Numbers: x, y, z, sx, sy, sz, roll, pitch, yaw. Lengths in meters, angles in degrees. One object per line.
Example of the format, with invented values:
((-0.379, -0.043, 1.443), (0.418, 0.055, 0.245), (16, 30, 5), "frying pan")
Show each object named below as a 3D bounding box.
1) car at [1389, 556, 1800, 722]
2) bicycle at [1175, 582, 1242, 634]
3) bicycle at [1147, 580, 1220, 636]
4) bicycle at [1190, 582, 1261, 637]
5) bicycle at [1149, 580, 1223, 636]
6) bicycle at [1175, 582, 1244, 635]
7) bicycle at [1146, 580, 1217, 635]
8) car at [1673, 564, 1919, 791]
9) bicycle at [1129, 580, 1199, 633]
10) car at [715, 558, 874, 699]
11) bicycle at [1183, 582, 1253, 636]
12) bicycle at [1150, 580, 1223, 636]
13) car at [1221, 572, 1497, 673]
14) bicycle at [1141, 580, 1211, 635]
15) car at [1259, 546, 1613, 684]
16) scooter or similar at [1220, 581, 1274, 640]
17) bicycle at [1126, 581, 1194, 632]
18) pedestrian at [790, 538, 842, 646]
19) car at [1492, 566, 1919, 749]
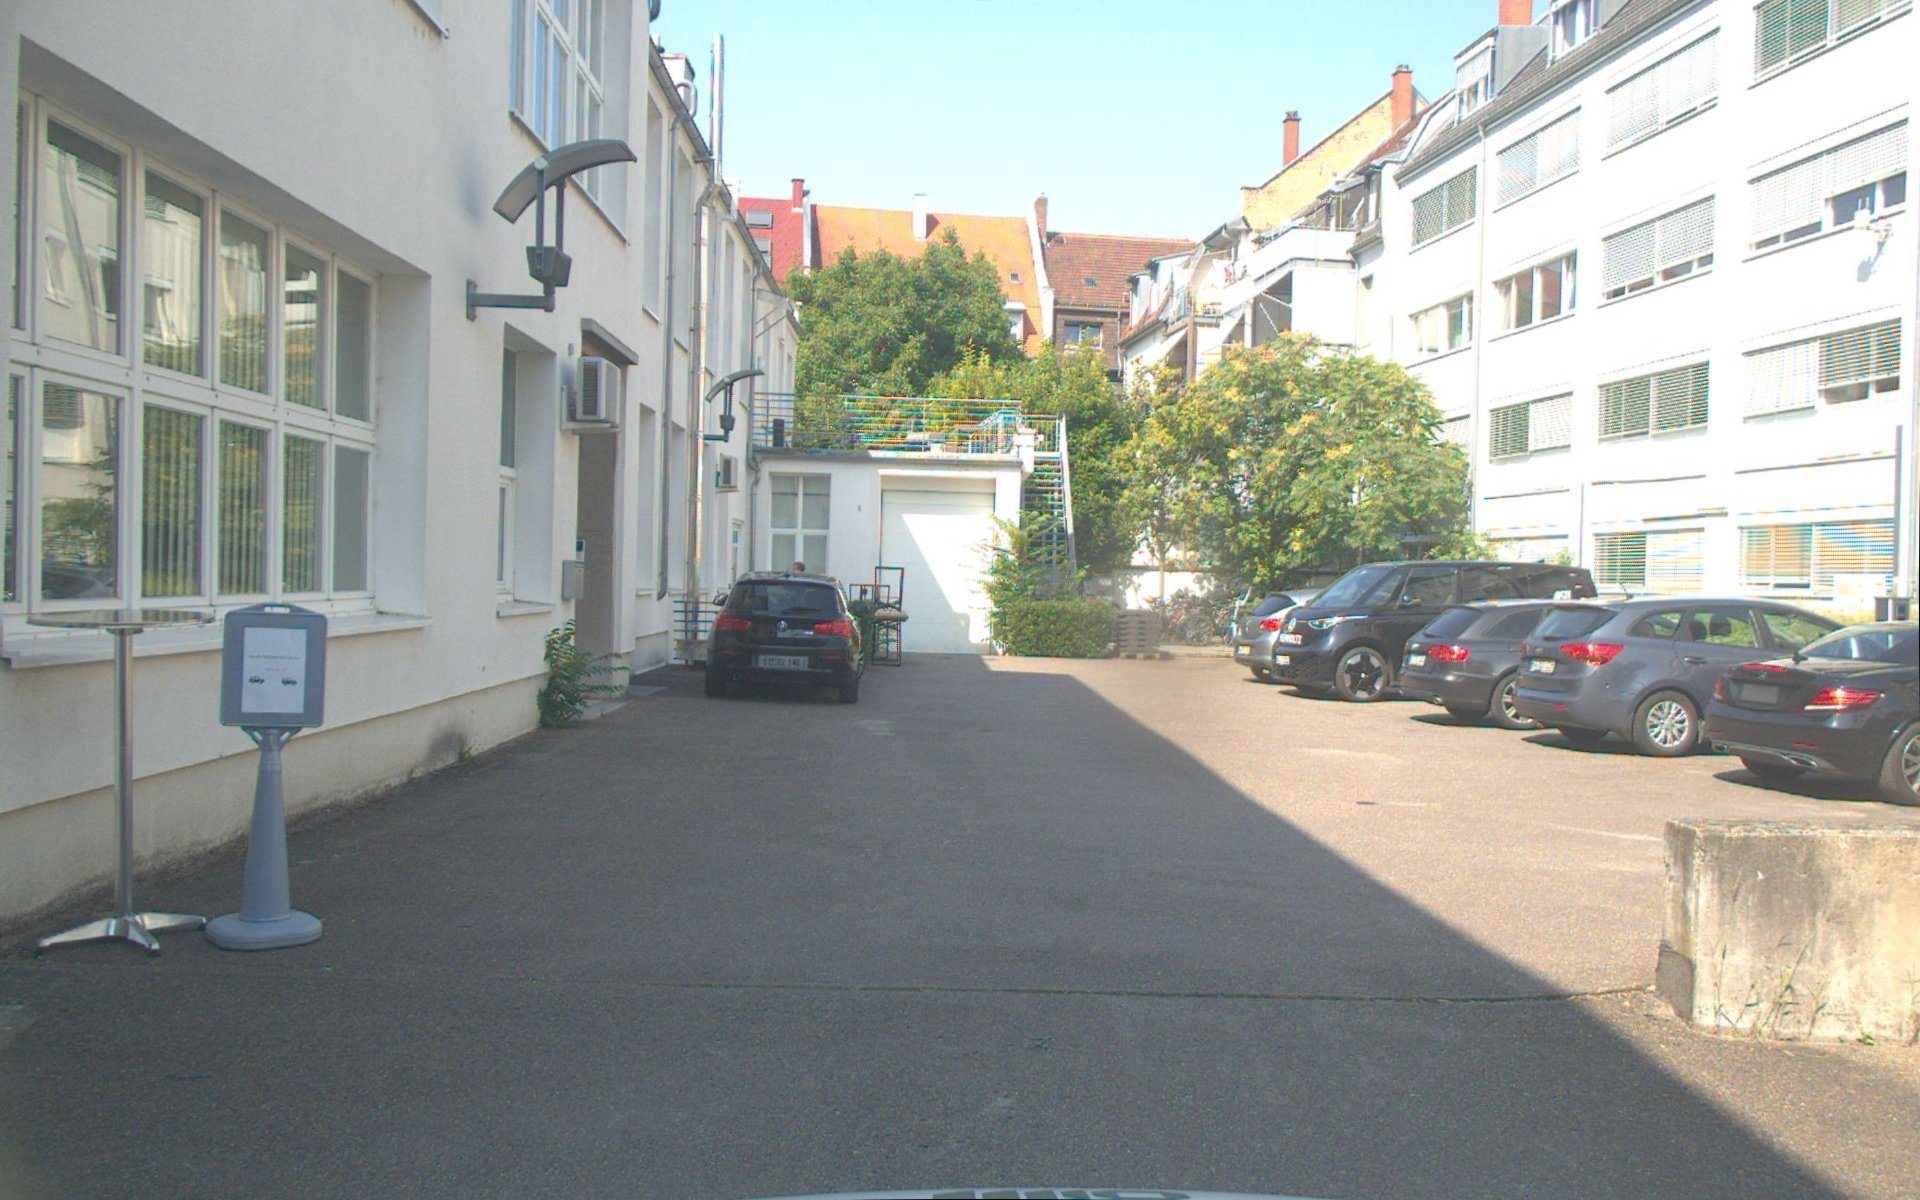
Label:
((7.218, 0.431, 19.059), (4.035, 1.721, 1.770), (2, 0, -4), "car")
((6.038, 0.183, 40.243), (1.588, 1.235, 0.424), (0, 1, 11), "bicycle")
((5.048, 0.176, 37.407), (1.590, 1.235, 0.327), (0, 1, 0), "bicycle")
((6.061, 0.202, 37.780), (1.588, 1.235, 0.327), (0, 1, 14), "bicycle")
((5.023, 0.180, 36.791), (1.590, 1.235, 0.327), (0, 1, 0), "bicycle")
((5.917, 0.188, 39.214), (1.588, 1.235, 0.424), (0, 1, 11), "bicycle")
((5.075, 0.174, 37.858), (1.588, 1.235, 0.327), (0, 1, 9), "bicycle")
((7.886, 0.586, 13.050), (3.731, 1.616, 1.892), (1, 0, -11), "car")
((4.796, 0.159, 38.894), (1.590, 1.235, 0.424), (0, 1, -2), "bicycle")
((-1.899, 0.297, 19.918), (1.654, 1.484, 3.921), (2, 0, -3), "car")
((6.026, 0.195, 38.639), (1.588, 1.235, 0.424), (0, 1, 12), "bicycle")
((5.082, 0.180, 37.114), (1.590, 1.235, 0.327), (0, 1, 0), "bicycle")
((6.258, 0.345, 26.127), (3.861, 1.508, 1.770), (1, 0, -11), "car")
((4.993, 0.169, 38.221), (1.588, 1.235, 0.327), (0, 1, 12), "bicycle")
((6.638, 0.214, 23.249), (4.419, 1.826, 1.878), (1, 0, -11), "car")
((6.332, 0.224, 36.575), (0.375, 1.283, 1.334), (0, 1, -32), "scooter or similar")
((4.852, 0.151, 40.132), (1.592, 1.235, 0.423), (0, 1, -6), "bicycle")
((-2.796, -0.152, 32.157), (0.895, 2.049, 0.934), (1, 0, -1), "pedestrian")
((7.456, 0.539, 16.245), (3.788, 1.616, 1.877), (2, 0, -6), "car")
